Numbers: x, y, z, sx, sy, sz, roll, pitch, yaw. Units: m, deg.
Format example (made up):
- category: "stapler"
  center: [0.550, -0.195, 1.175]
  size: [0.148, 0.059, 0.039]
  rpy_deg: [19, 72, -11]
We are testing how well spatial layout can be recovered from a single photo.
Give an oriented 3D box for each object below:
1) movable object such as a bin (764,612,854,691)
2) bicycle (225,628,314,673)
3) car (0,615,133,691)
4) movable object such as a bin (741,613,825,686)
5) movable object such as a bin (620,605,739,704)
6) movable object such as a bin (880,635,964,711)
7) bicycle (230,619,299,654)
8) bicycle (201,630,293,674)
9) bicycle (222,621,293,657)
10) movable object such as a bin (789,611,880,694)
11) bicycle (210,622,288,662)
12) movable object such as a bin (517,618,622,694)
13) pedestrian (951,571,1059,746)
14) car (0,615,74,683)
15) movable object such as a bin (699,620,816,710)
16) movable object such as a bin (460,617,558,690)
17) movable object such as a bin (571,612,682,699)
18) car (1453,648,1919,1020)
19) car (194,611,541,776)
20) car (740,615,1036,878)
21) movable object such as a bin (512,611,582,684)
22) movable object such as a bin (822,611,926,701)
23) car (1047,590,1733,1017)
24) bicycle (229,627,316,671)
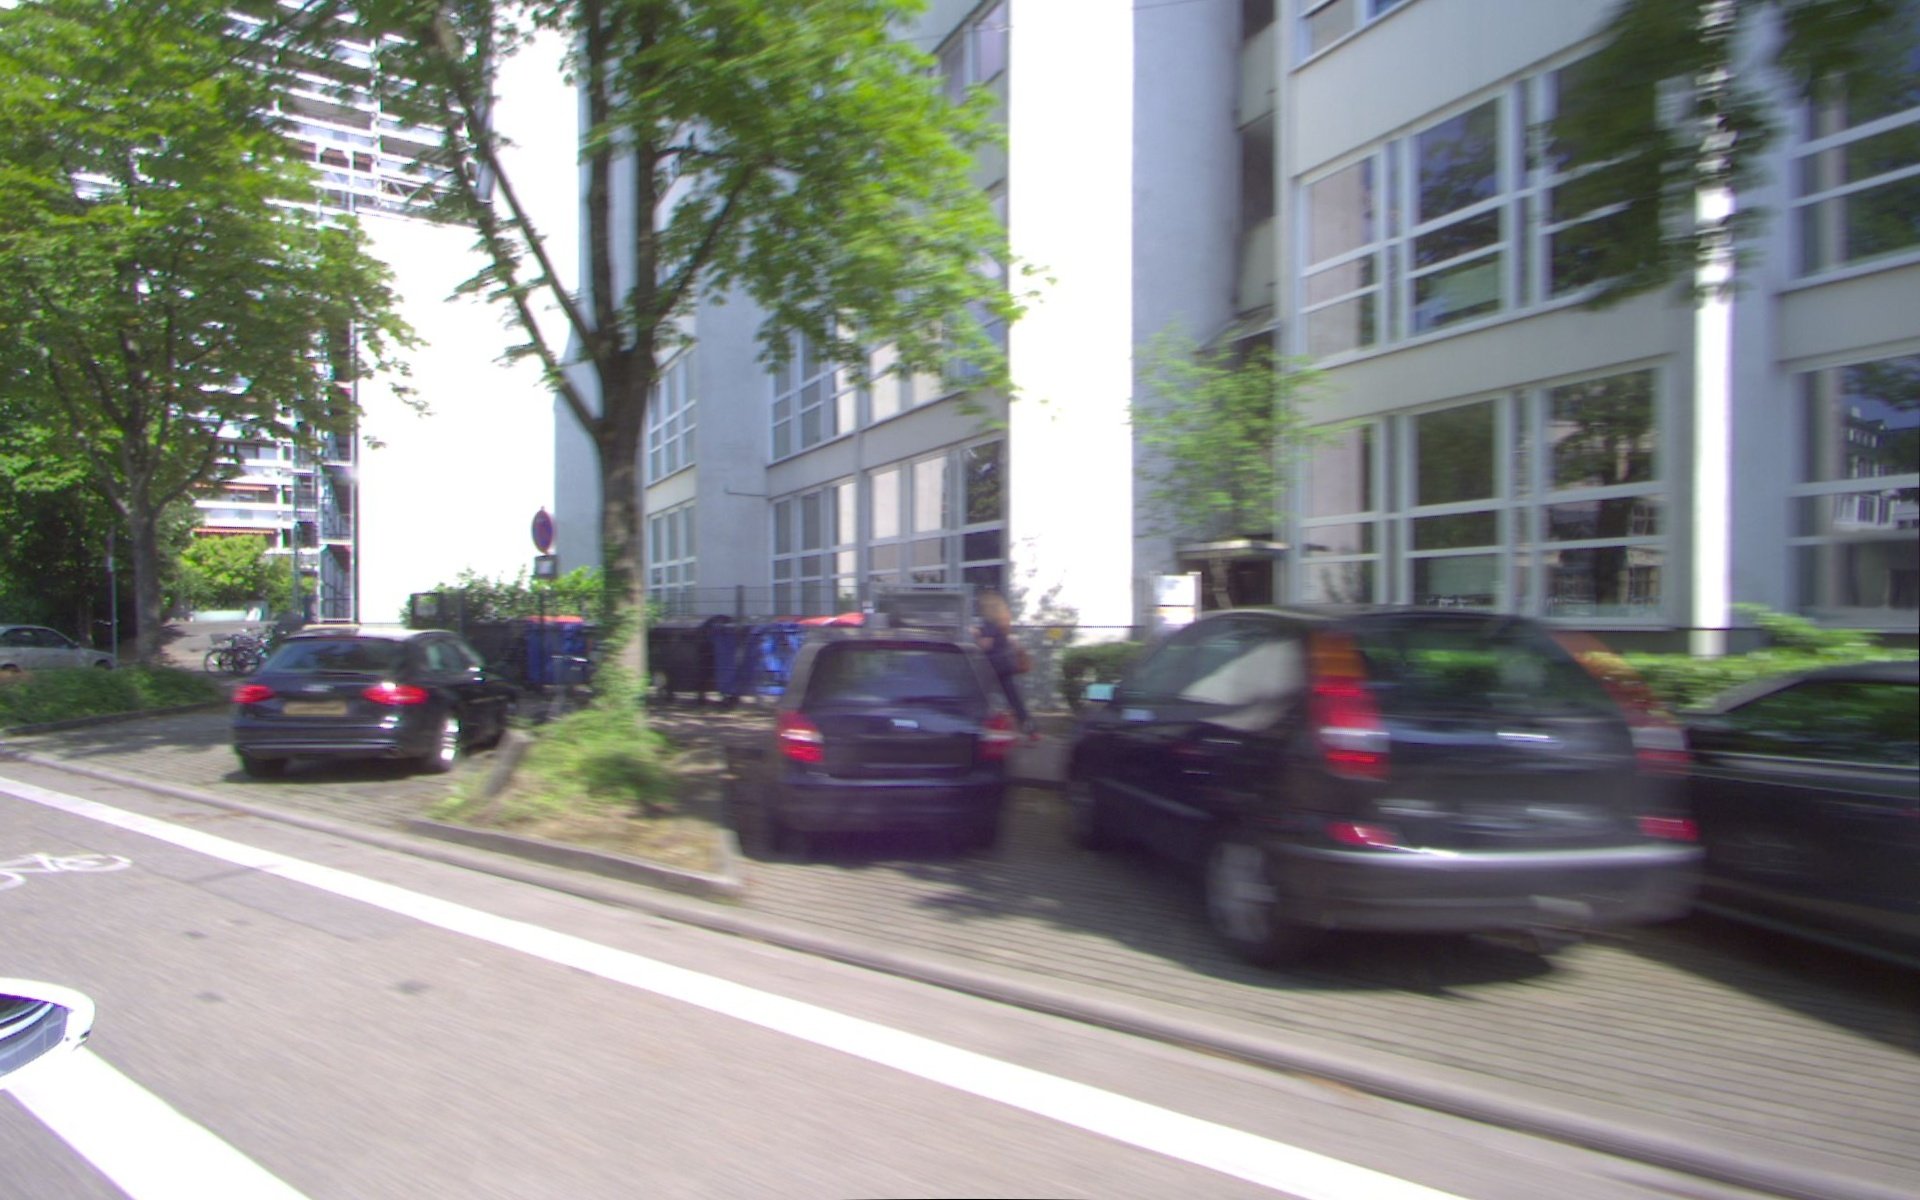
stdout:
- category: "movable object such as a bin"
  center: [-3.053, 1.003, 20.222]
  size: [1.362, 1.467, 1.254]
  rpy_deg: [-2, 1, -36]
- category: "bicycle"
  center: [-18.339, 1.319, 26.617]
  size: [1.872, 1.110, 0.449]
  rpy_deg: [-1, 1, -26]
- category: "car"
  center: [-19.611, 1.050, 20.728]
  size: [1.690, 1.438, 4.243]
  rpy_deg: [1, -1, -5]
- category: "movable object such as a bin"
  center: [-3.821, 1.030, 21.581]
  size: [1.362, 1.467, 1.254]
  rpy_deg: [-2, 1, -36]
- category: "movable object such as a bin"
  center: [-4.650, 0.879, 16.639]
  size: [1.449, 1.559, 1.272]
  rpy_deg: [-1, -1, 33]
- category: "movable object such as a bin"
  center: [-0.629, 1.173, 16.412]
  size: [1.020, 1.105, 0.924]
  rpy_deg: [-3, 2, -32]
- category: "bicycle"
  center: [-22.802, 1.193, 32.863]
  size: [1.804, 1.110, 0.449]
  rpy_deg: [0, 1, -26]
- category: "bicycle"
  center: [-18.488, 1.345, 26.013]
  size: [1.872, 1.067, 0.449]
  rpy_deg: [-1, 1, -26]
- category: "bicycle"
  center: [-22.280, 1.227, 31.796]
  size: [1.804, 1.110, 0.449]
  rpy_deg: [1, 1, -26]
- category: "movable object such as a bin"
  center: [-2.382, 0.976, 18.890]
  size: [1.194, 1.474, 1.444]
  rpy_deg: [1, -2, -34]
- category: "bicycle"
  center: [-21.128, 1.246, 29.779]
  size: [1.804, 1.111, 0.449]
  rpy_deg: [-1, 3, -26]
- category: "movable object such as a bin"
  center: [-7.306, 1.035, 18.741]
  size: [1.339, 1.353, 1.273]
  rpy_deg: [-1, -2, 31]
- category: "pedestrian"
  center: [0.515, 0.645, 11.469]
  size: [0.990, 1.898, 0.757]
  rpy_deg: [0, 0, 39]
- category: "car"
  center: [-22.173, 1.078, 22.414]
  size: [1.621, 1.493, 3.805]
  rpy_deg: [2, -2, -8]
- category: "movable object such as a bin"
  center: [-3.197, 0.994, 15.836]
  size: [1.307, 1.335, 1.272]
  rpy_deg: [-1, -1, 33]
- category: "movable object such as a bin"
  center: [-8.767, 1.025, 19.497]
  size: [1.219, 1.352, 1.273]
  rpy_deg: [-1, -2, 31]
- category: "movable object such as a bin"
  center: [-5.949, 0.979, 17.912]
  size: [1.330, 1.455, 1.276]
  rpy_deg: [1, -2, 26]
- category: "car"
  center: [4.449, 0.936, 4.485]
  size: [1.870, 1.366, 4.173]
  rpy_deg: [1, -2, -12]
- category: "car"
  center: [-6.267, 0.942, 11.302]
  size: [1.994, 1.460, 4.534]
  rpy_deg: [1, -3, -12]
- category: "car"
  center: [-0.782, 0.891, 7.851]
  size: [1.694, 1.462, 4.072]
  rpy_deg: [2, -1, -11]
- category: "movable object such as a bin"
  center: [-8.827, 1.007, 21.391]
  size: [1.250, 1.500, 0.932]
  rpy_deg: [2, -1, -30]
- category: "movable object such as a bin"
  center: [-1.520, 0.945, 17.679]
  size: [1.362, 1.467, 1.254]
  rpy_deg: [-2, 1, -36]
- category: "car"
  center: [1.896, 0.842, 5.868]
  size: [1.869, 1.594, 3.999]
  rpy_deg: [1, -2, -9]
- category: "bicycle"
  center: [-18.553, 1.304, 27.068]
  size: [1.872, 1.110, 0.449]
  rpy_deg: [-1, 1, -26]
